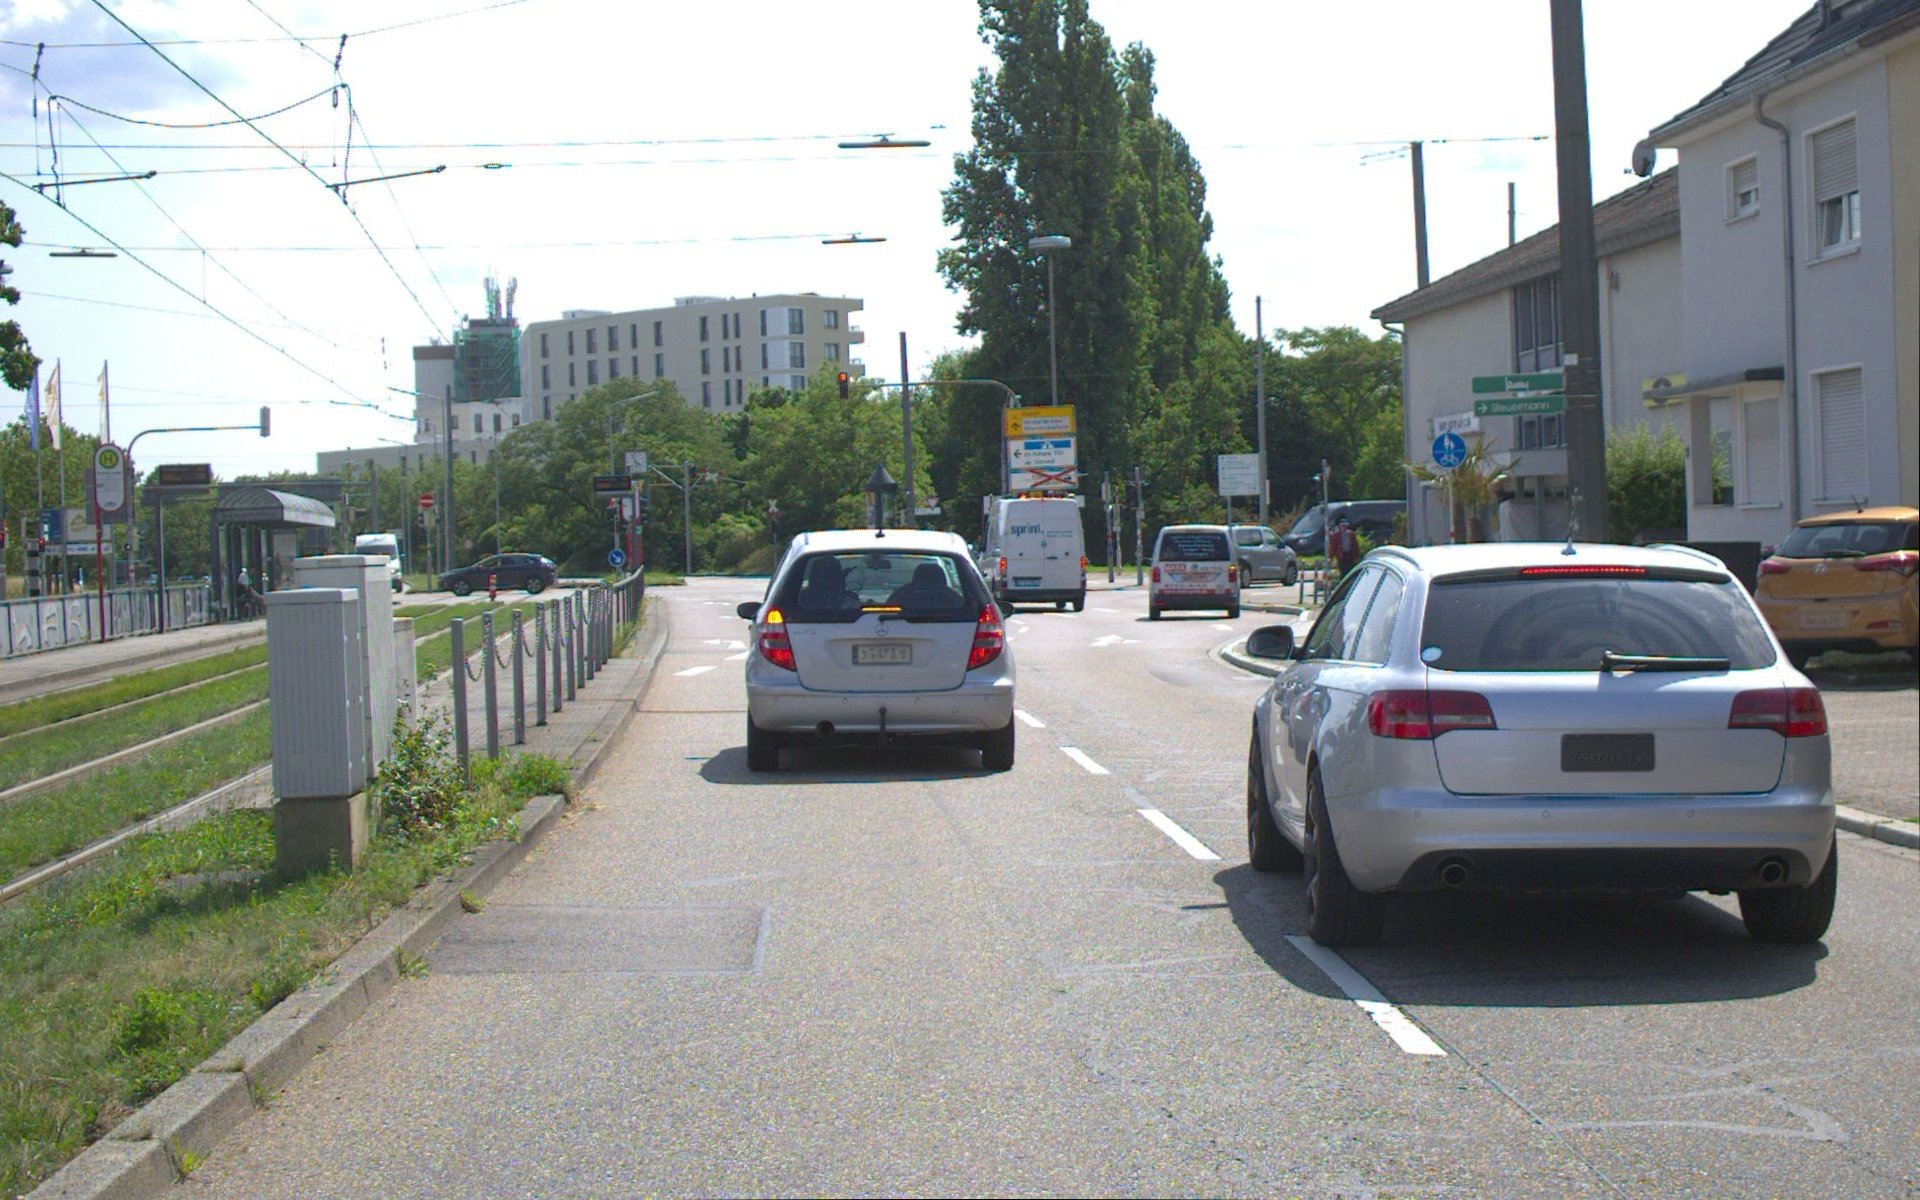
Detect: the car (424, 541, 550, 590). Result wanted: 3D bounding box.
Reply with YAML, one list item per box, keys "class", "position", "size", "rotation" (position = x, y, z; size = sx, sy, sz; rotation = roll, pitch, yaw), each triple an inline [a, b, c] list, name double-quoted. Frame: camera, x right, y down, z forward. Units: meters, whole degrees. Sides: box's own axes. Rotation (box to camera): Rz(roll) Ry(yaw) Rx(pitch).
- class: "car"
  position: [-17.250, -1.259, 125.518]
  size: [4.352, 1.733, 2.000]
  rotation: [0, 0, -1]

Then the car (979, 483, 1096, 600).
- class: "car"
  position: [1.715, -1.310, 77.961]
  size: [2.040, 2.549, 5.232]
  rotation: [-1, 1, -5]

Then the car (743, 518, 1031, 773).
- class: "car"
  position: [-0.523, 0.260, 23.756]
  size: [1.787, 1.571, 4.095]
  rotation: [1, 1, -2]

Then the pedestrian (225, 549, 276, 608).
- class: "pedestrian"
  position: [-16.717, -0.509, 80.996]
  size: [1.058, 1.371, 0.860]
  rotation: [0, 0, -5]

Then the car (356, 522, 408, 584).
- class: "car"
  position: [-24.910, -2.009, 148.327]
  size: [1.993, 2.597, 4.880]
  rotation: [0, 0, -7]

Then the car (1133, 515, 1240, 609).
- class: "car"
  position: [4.415, -0.730, 66.528]
  size: [1.885, 1.725, 4.093]
  rotation: [-1, 0, 6]

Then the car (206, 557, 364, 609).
- class: "car"
  position: [-22.380, -0.566, 114.046]
  size: [4.862, 1.654, 2.000]
  rotation: [0, 0, -1]

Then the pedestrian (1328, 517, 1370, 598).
- class: "pedestrian"
  position: [8.681, -0.948, 76.760]
  size: [0.721, 1.776, 0.703]
  rotation: [-3, 1, -2]

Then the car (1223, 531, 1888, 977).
- class: "car"
  position: [2.167, 0.486, 13.765]
  size: [1.854, 1.487, 4.536]
  rotation: [0, 1, 0]

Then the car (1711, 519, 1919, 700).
- class: "car"
  position: [8.862, 0.027, 31.569]
  size: [4.082, 1.453, 1.915]
  rotation: [-4, 3, -45]

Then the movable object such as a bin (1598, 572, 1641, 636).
- class: "movable object such as a bin"
  position: [9.694, 0.053, 50.515]
  size: [0.441, 0.931, 0.550]
  rotation: [-1, 1, -9]
